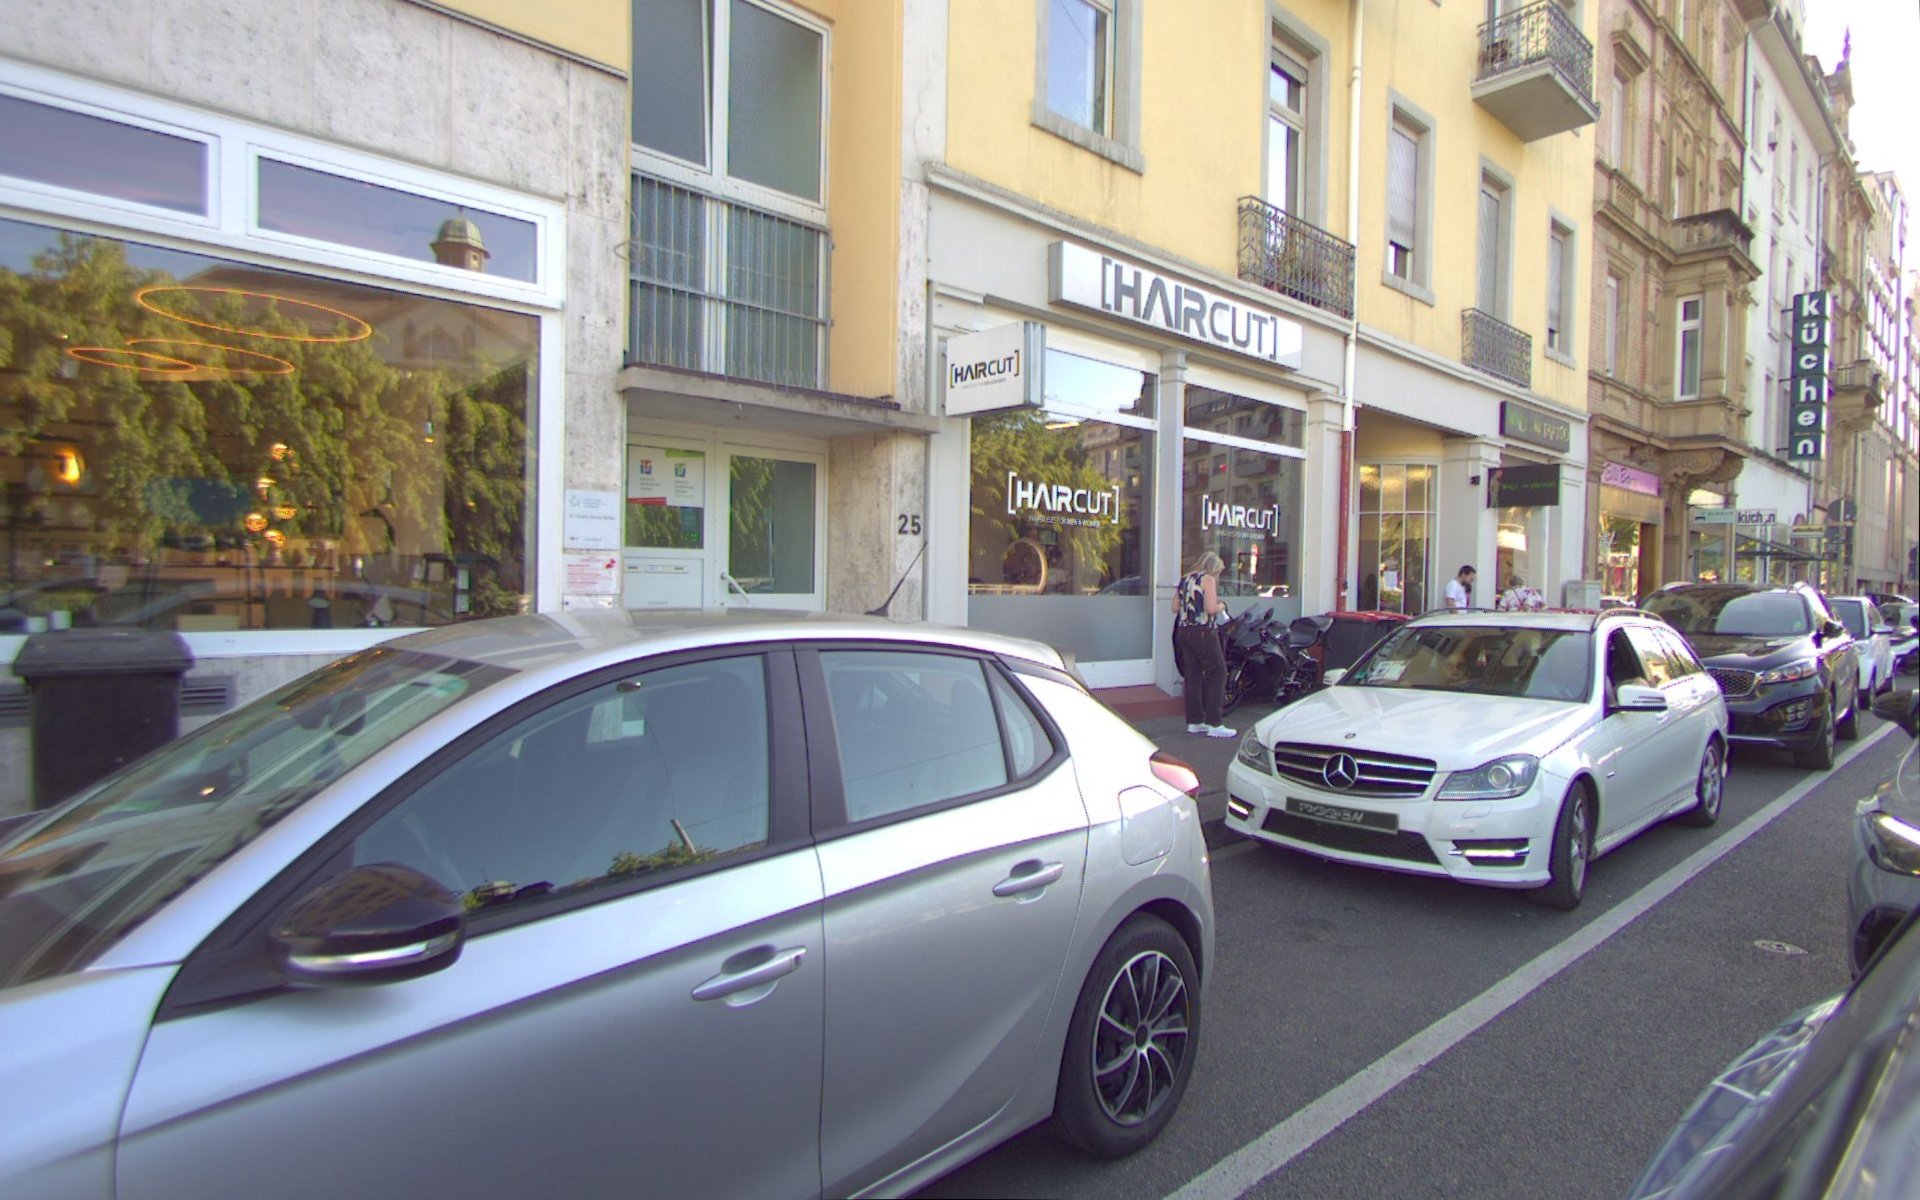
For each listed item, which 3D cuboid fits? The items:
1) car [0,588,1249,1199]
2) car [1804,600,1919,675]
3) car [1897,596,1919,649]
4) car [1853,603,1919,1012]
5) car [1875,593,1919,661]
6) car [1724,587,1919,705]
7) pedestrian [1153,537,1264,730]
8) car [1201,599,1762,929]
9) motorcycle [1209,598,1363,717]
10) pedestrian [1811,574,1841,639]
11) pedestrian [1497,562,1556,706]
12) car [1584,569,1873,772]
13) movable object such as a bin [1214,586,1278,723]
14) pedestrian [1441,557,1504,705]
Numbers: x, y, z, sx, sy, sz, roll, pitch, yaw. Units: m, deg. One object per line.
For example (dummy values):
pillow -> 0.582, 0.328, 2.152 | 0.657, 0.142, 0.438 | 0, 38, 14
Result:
car -> -1.003, 0.701, 2.300 | 3.597, 1.445, 1.549 | -1, 1, -42
car -> 18.167, 0.676, 19.977 | 4.016, 1.282, 1.800 | -1, 1, -42
car -> 26.592, 0.577, 27.164 | 3.773, 1.357, 1.800 | -1, 1, -42
car -> 5.242, 0.708, 4.219 | 3.931, 1.376, 1.800 | -1, 1, -41
car -> 22.217, 0.575, 23.048 | 4.016, 1.450, 1.657 | -1, 0, -42
car -> 13.127, 0.583, 15.322 | 4.016, 1.546, 1.800 | -1, 0, -42
pedestrian -> 2.269, 0.277, 9.270 | 0.595, 1.674, 0.719 | 0, 3, -40
car -> 3.525, 0.707, 6.431 | 4.302, 1.376, 1.703 | -1, 0, -41
motorcycle -> 3.426, 0.548, 10.536 | 1.920, 1.091, 0.567 | -1, 4, -41
pedestrian -> 25.445, 0.191, 29.730 | 0.653, 1.874, 0.574 | 0, 0, -40
pedestrian -> 7.619, 0.439, 13.622 | 0.567, 1.874, 0.661 | 0, 0, 19
car -> 7.992, 0.550, 10.367 | 4.176, 1.659, 1.799 | -1, 0, -45
movable object such as a bin -> 2.706, 0.500, 9.587 | 0.387, 1.253, 0.391 | 0, 3, -41
pedestrian -> 7.110, 0.416, 14.037 | 0.679, 2.008, 0.375 | 1, 1, -18
